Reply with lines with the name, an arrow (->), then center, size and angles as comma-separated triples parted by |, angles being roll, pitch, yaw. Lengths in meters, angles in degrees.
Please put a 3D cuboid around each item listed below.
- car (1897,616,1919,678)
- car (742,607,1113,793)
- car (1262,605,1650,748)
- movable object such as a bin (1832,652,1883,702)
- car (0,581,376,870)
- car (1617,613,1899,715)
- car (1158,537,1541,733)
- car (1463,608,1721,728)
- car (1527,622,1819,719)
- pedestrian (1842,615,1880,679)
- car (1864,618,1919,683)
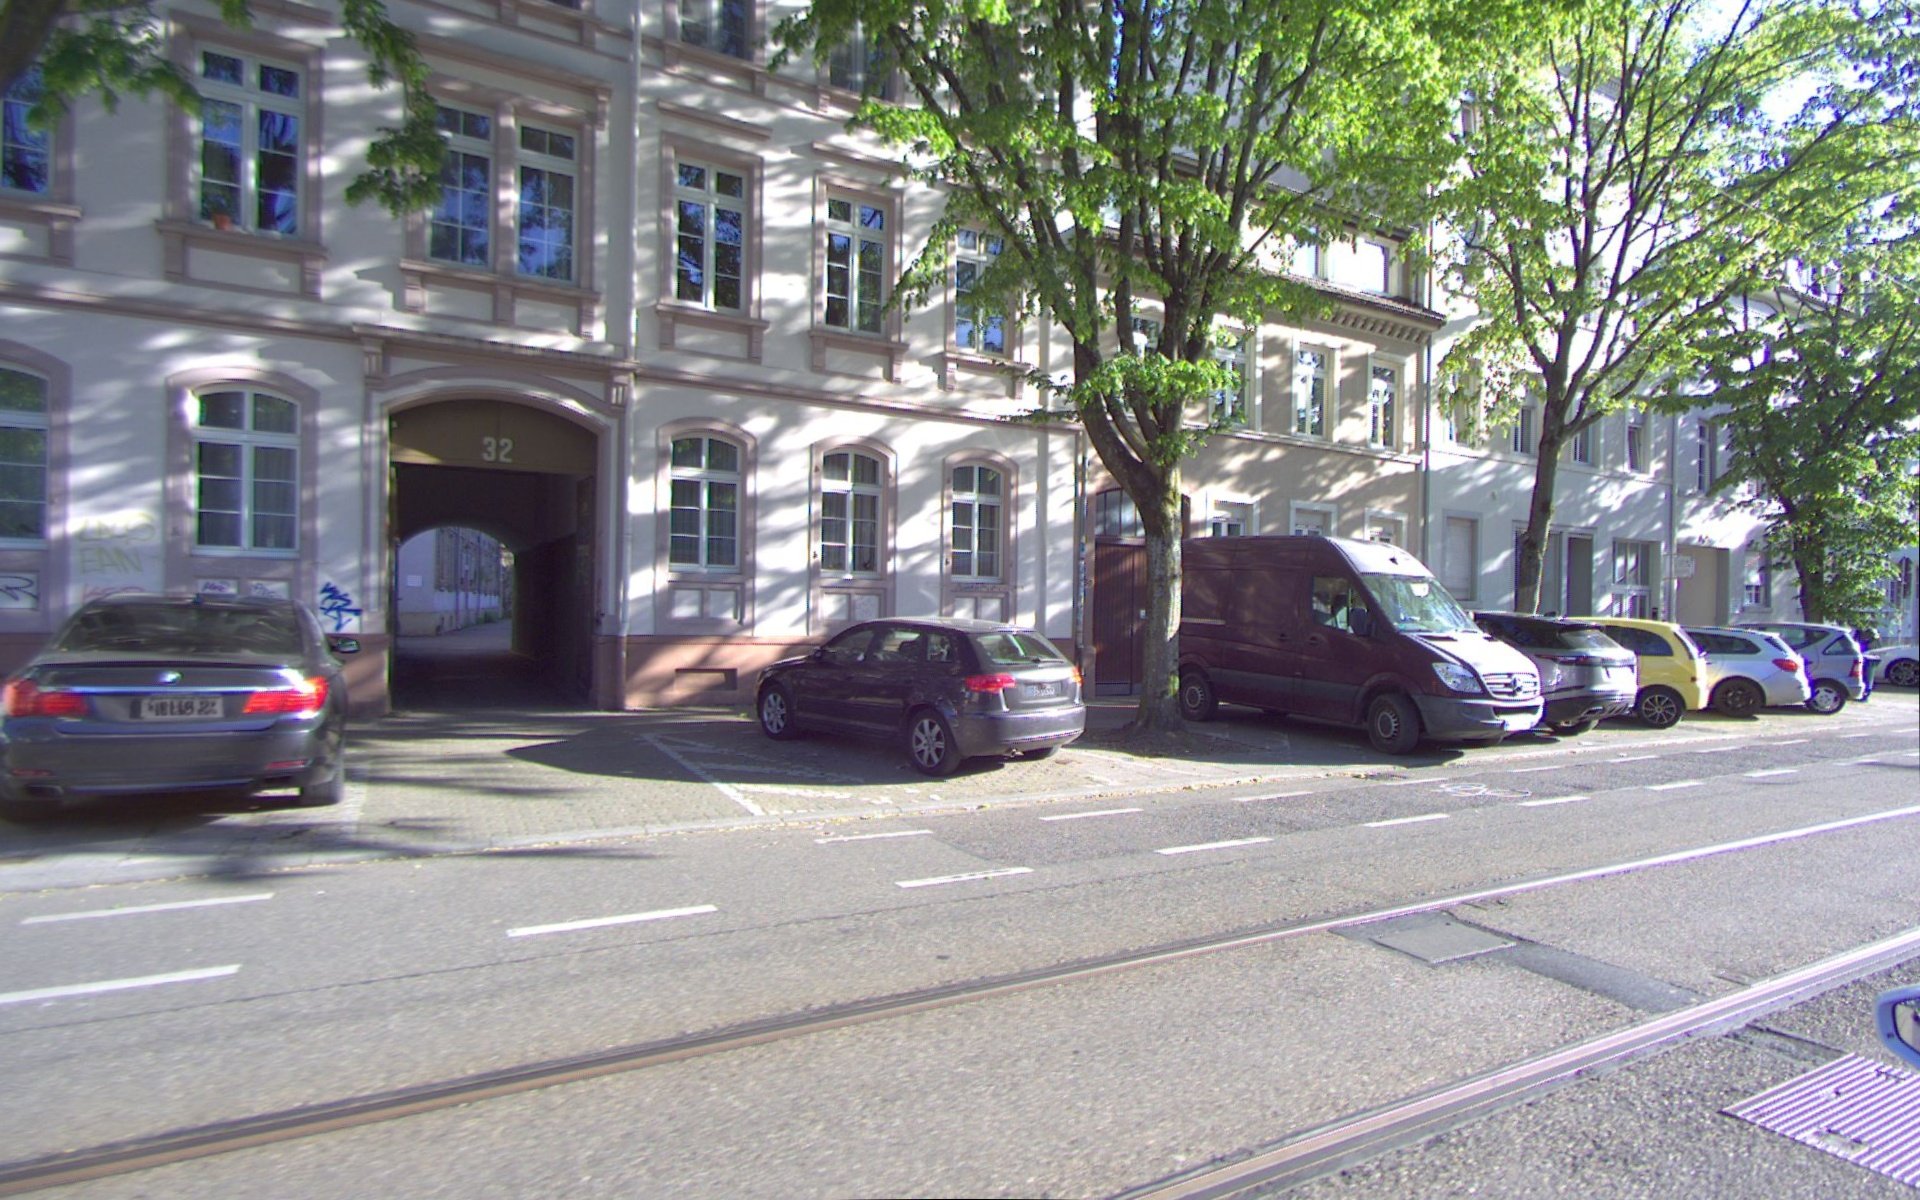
car -> 28.601, 1.402, 27.514 | 3.930, 1.679, 1.806 | 3, 2, 32
car -> -0.510, 0.888, 10.688 | 1.659, 1.472, 4.046 | 2, 0, -43
car -> 7.081, 0.964, 14.931 | 2.138, 1.747, 4.805 | 1, -1, -30
movable object such as a bin -> 18.435, 1.571, 20.638 | 0.662, 0.957, 0.618 | 1, 0, -30
car -> -5.882, 0.674, 8.006 | 1.933, 1.598, 4.667 | 1, 1, -33
car -> 15.349, 1.145, 19.564 | 1.681, 1.699, 3.971 | 1, 0, -28
car -> 4.963, 0.396, 13.454 | 2.138, 2.146, 4.415 | 1, 0, -30
car -> 10.042, 1.012, 16.185 | 3.315, 1.574, 1.381 | 3, 3, 31
car -> 12.875, 1.197, 18.321 | 1.691, 1.573, 4.118 | 2, -2, -44
pedestrian -> 26.270, 1.362, 29.279 | 0.616, 1.862, 0.641 | 1, -1, -27
car -> 25.100, 1.351, 25.135 | 3.595, 1.550, 1.876 | 4, 1, 42
